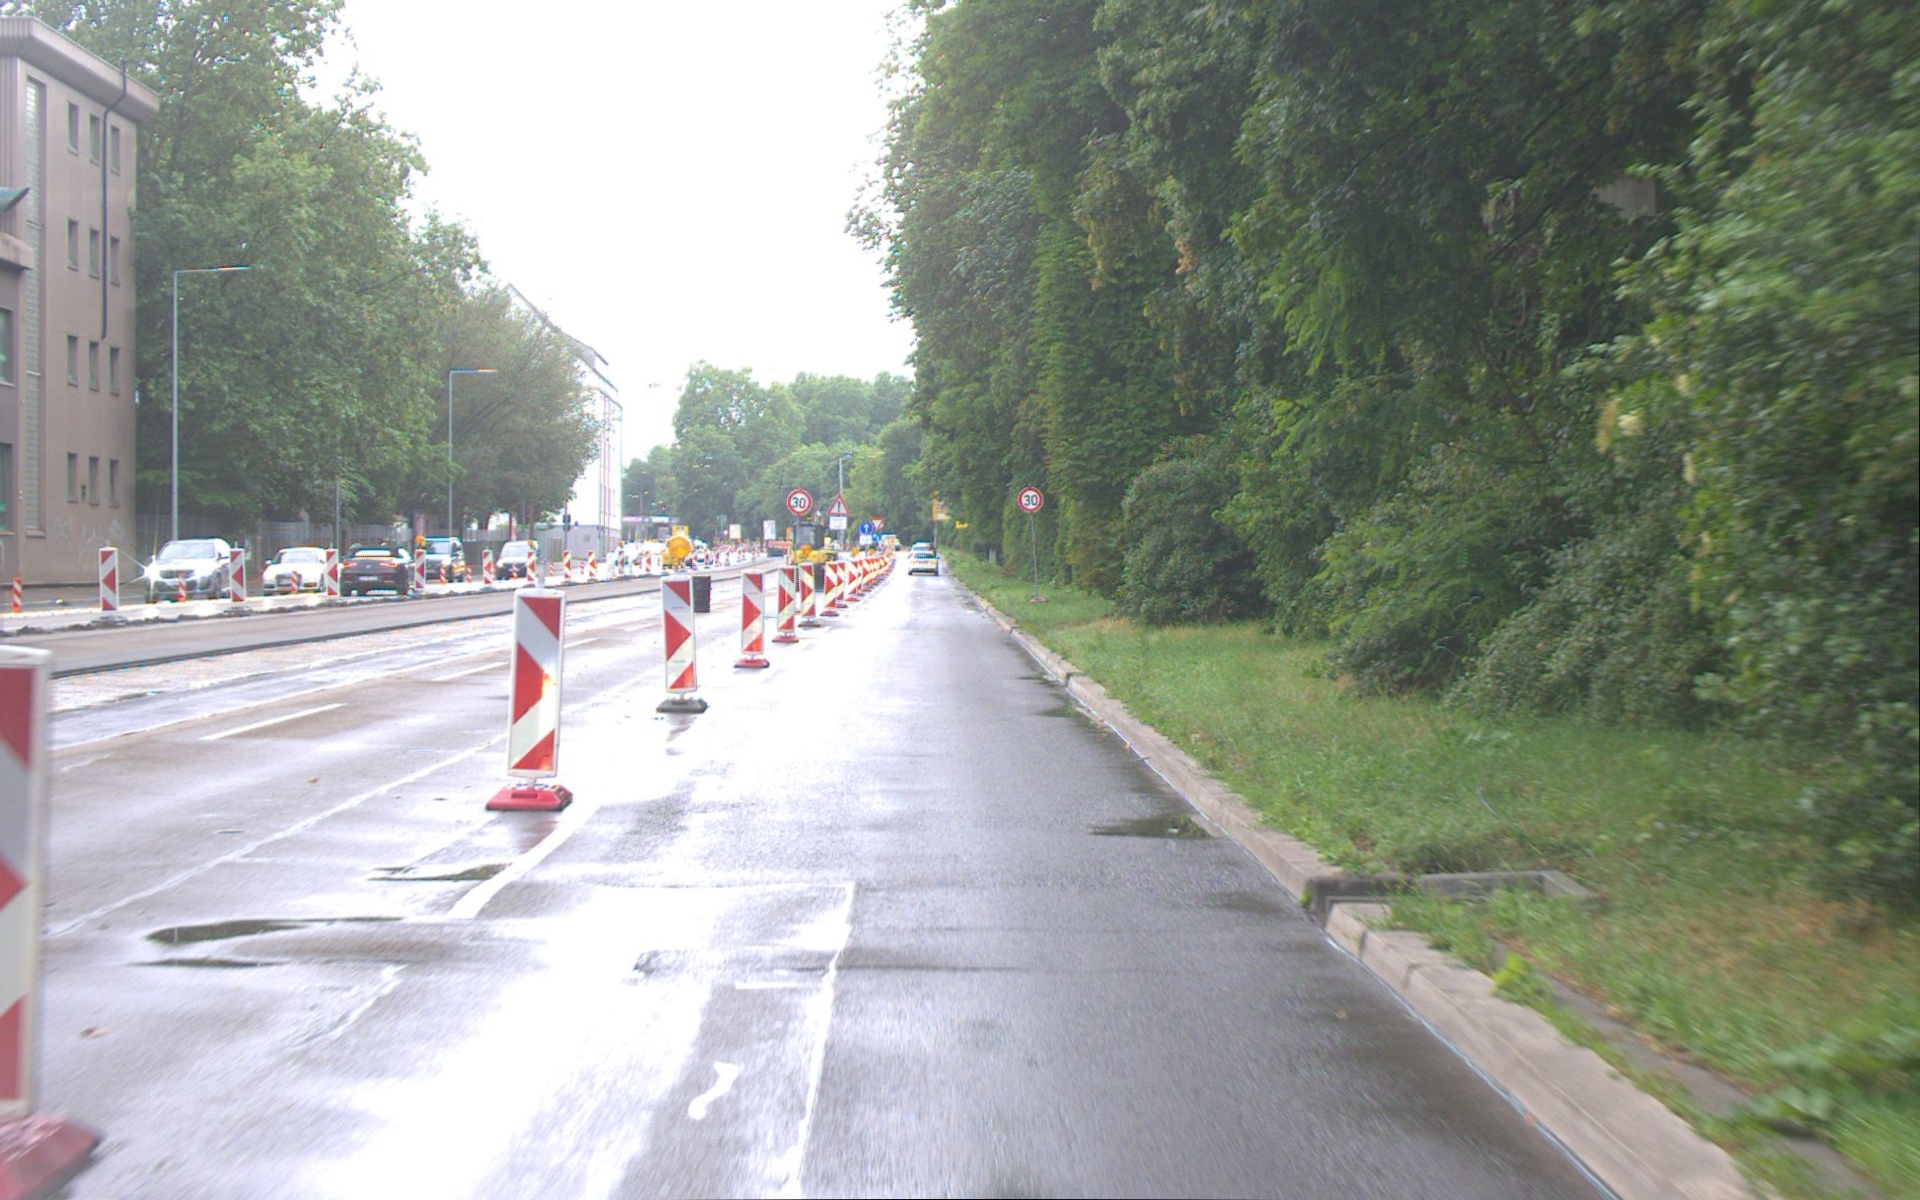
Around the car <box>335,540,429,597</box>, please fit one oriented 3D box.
[{"bbox_3d":[-16.219,-0.879,96.622,1.993,1.514,4.000,2,0,-1],"label":"car"}]

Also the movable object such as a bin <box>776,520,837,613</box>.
[{"bbox_3d":[-5.718,-1.234,128.648,1.993,3.356,5.982,2,0,0],"label":"movable object such as a bin"}]

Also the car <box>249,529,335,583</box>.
[{"bbox_3d":[-19.872,-1.288,102.412,1.803,1.529,3.992,2,0,-1],"label":"car"}]

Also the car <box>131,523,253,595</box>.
[{"bbox_3d":[-19.671,-1.037,88.253,1.989,1.762,4.674,2,0,1],"label":"car"}]

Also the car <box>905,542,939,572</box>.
[{"bbox_3d":[-2.271,-2.564,205.849,1.993,1.667,4.000,2,0,0],"label":"car"}]
